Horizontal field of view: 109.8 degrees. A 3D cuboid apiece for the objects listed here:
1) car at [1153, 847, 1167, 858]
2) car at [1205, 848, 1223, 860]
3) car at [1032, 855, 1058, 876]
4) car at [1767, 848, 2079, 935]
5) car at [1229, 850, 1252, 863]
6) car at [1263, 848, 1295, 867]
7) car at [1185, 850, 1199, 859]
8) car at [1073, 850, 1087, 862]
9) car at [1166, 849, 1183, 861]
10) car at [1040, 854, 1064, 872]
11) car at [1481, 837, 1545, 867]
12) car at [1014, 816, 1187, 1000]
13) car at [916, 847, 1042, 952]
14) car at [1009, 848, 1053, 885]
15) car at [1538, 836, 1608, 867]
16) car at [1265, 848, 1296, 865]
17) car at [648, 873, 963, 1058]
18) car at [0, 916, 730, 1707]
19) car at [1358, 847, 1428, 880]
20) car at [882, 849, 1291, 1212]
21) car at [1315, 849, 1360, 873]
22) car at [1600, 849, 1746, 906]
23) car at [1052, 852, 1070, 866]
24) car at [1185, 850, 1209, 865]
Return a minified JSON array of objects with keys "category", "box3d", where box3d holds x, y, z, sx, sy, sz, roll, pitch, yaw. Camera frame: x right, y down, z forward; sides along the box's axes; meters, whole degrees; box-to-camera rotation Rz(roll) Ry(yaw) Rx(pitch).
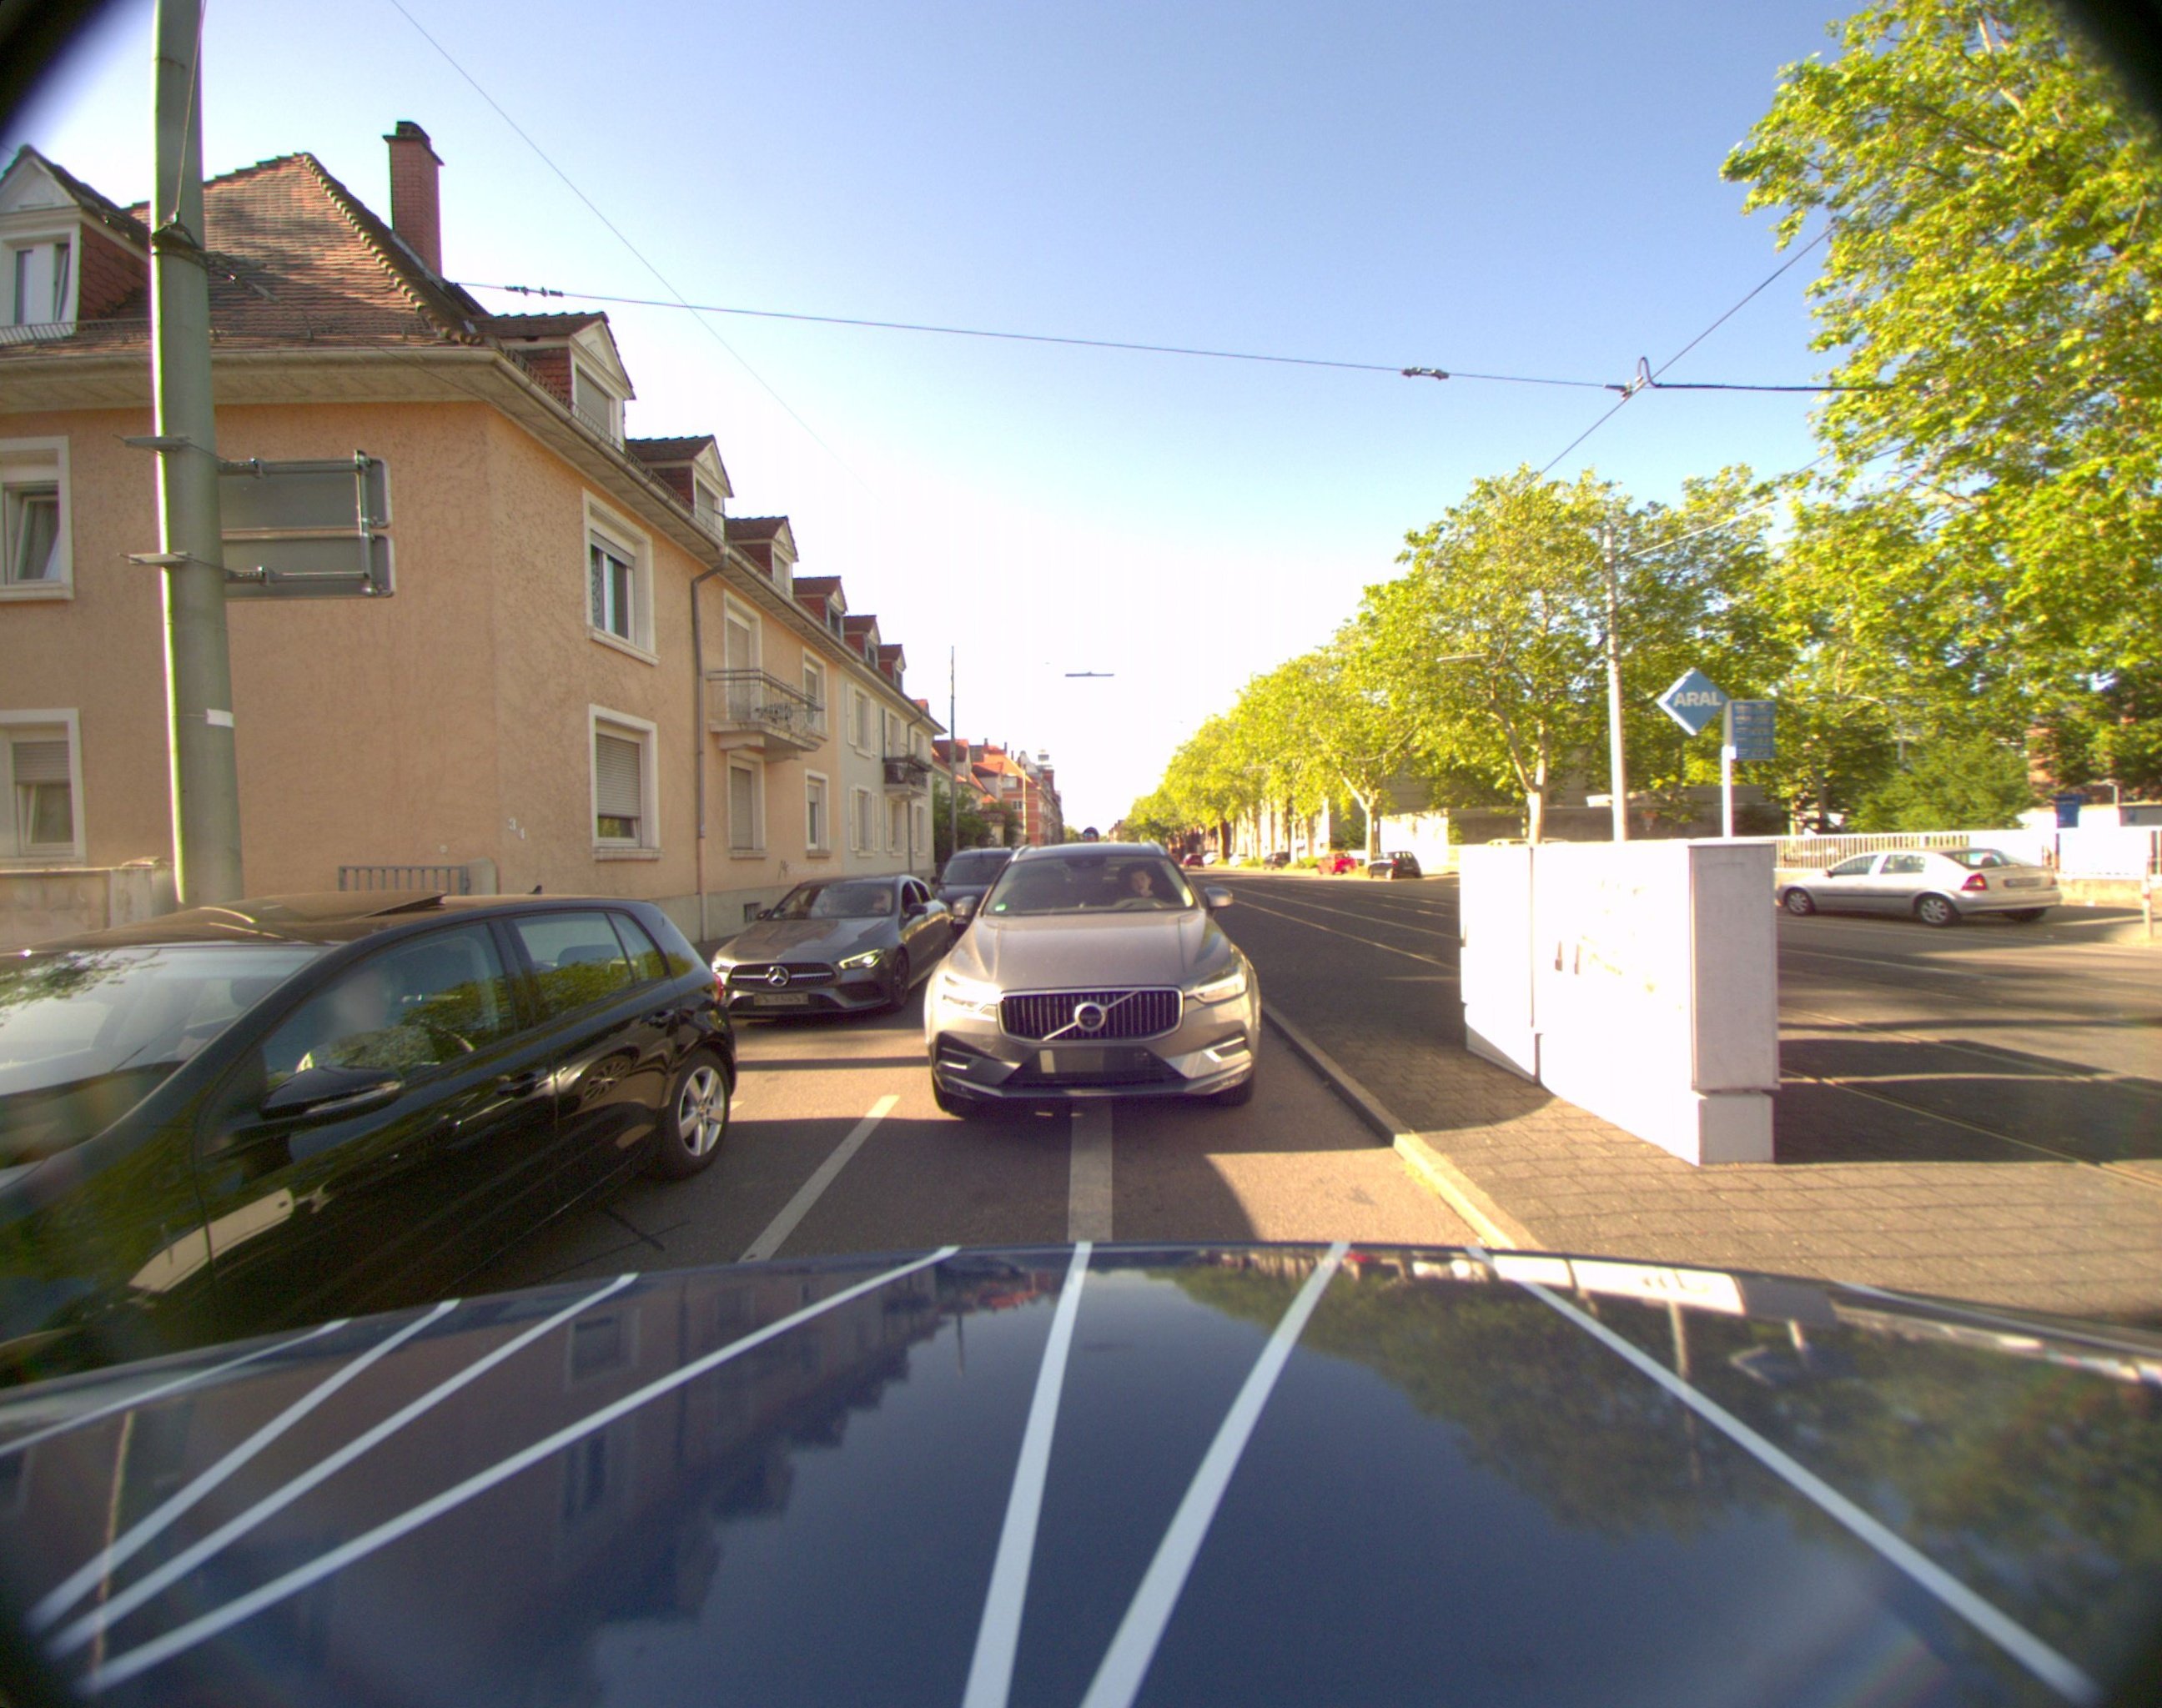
[{"category":"car","box3d":[13.375,-0.300,129.186,1.850,1.835,4.394,-1,1,-1]},{"category":"car","box3d":[17.650,0.007,100.777,1.700,1.548,3.999,-1,1,1]},{"category":"car","box3d":[-2.837,0.883,60.581,1.841,1.449,3.999,-2,1,1]},{"category":"car","box3d":[16.218,0.622,15.000,1.731,1.412,3.999,-2,1,1]},{"category":"car","box3d":[17.505,0.249,83.515,1.700,1.401,3.999,-1,1,1]},{"category":"car","box3d":[17.157,0.318,65.988,1.700,1.566,3.999,-1,1,1]},{"category":"car","box3d":[18.317,0.023,125.554,1.700,1.401,3.999,-1,1,1]},{"category":"car","box3d":[-0.173,0.269,106.480,1.841,1.449,3.999,-2,1,1]},{"category":"car","box3d":[13.006,0.091,105.929,1.700,1.412,3.999,6,1,1]},{"category":"car","box3d":[-2.542,0.800,66.990,1.841,1.449,3.999,-2,1,1]},{"category":"car","box3d":[21.710,-0.114,38.311,1.545,1.412,3.151,-2,1,4]},{"category":"car","box3d":[0.232,0.593,11.115,1.912,2.048,4.763,-2,1,0]},{"category":"car","box3d":[-1.935,0.785,15.900,1.866,1.794,4.778,-2,1,1]},{"category":"car","box3d":[-2.864,0.667,45.029,1.937,1.888,7.210,-2,1,1]},{"category":"car","box3d":[24.264,-0.125,37.607,1.545,1.412,3.151,-2,1,4]},{"category":"car","box3d":[17.275,0.226,65.907,1.700,1.401,3.999,-1,1,1]},{"category":"car","box3d":[-2.795,1.055,8.988,1.911,1.411,4.492,-2,1,2]},{"category":"car","box3d":[-2.821,1.072,2.105,1.733,1.499,4.051,-2,-1,1]},{"category":"car","box3d":[16.821,0.476,41.204,1.753,1.514,4.434,-5,1,-1]},{"category":"car","box3d":[0.033,0.841,6.048,1.912,1.666,4.763,-2,1,0]},{"category":"car","box3d":[16.957,0.449,50.429,1.700,1.460,3.999,-1,1,1]},{"category":"car","box3d":[16.400,0.603,21.256,1.546,1.412,3.254,-2,1,1]},{"category":"car","box3d":[-2.194,0.582,85.428,1.841,1.449,3.999,-2,1,1]},{"category":"car","box3d":[12.608,0.388,82.974,1.912,1.514,4.763,0,1,0]}]
